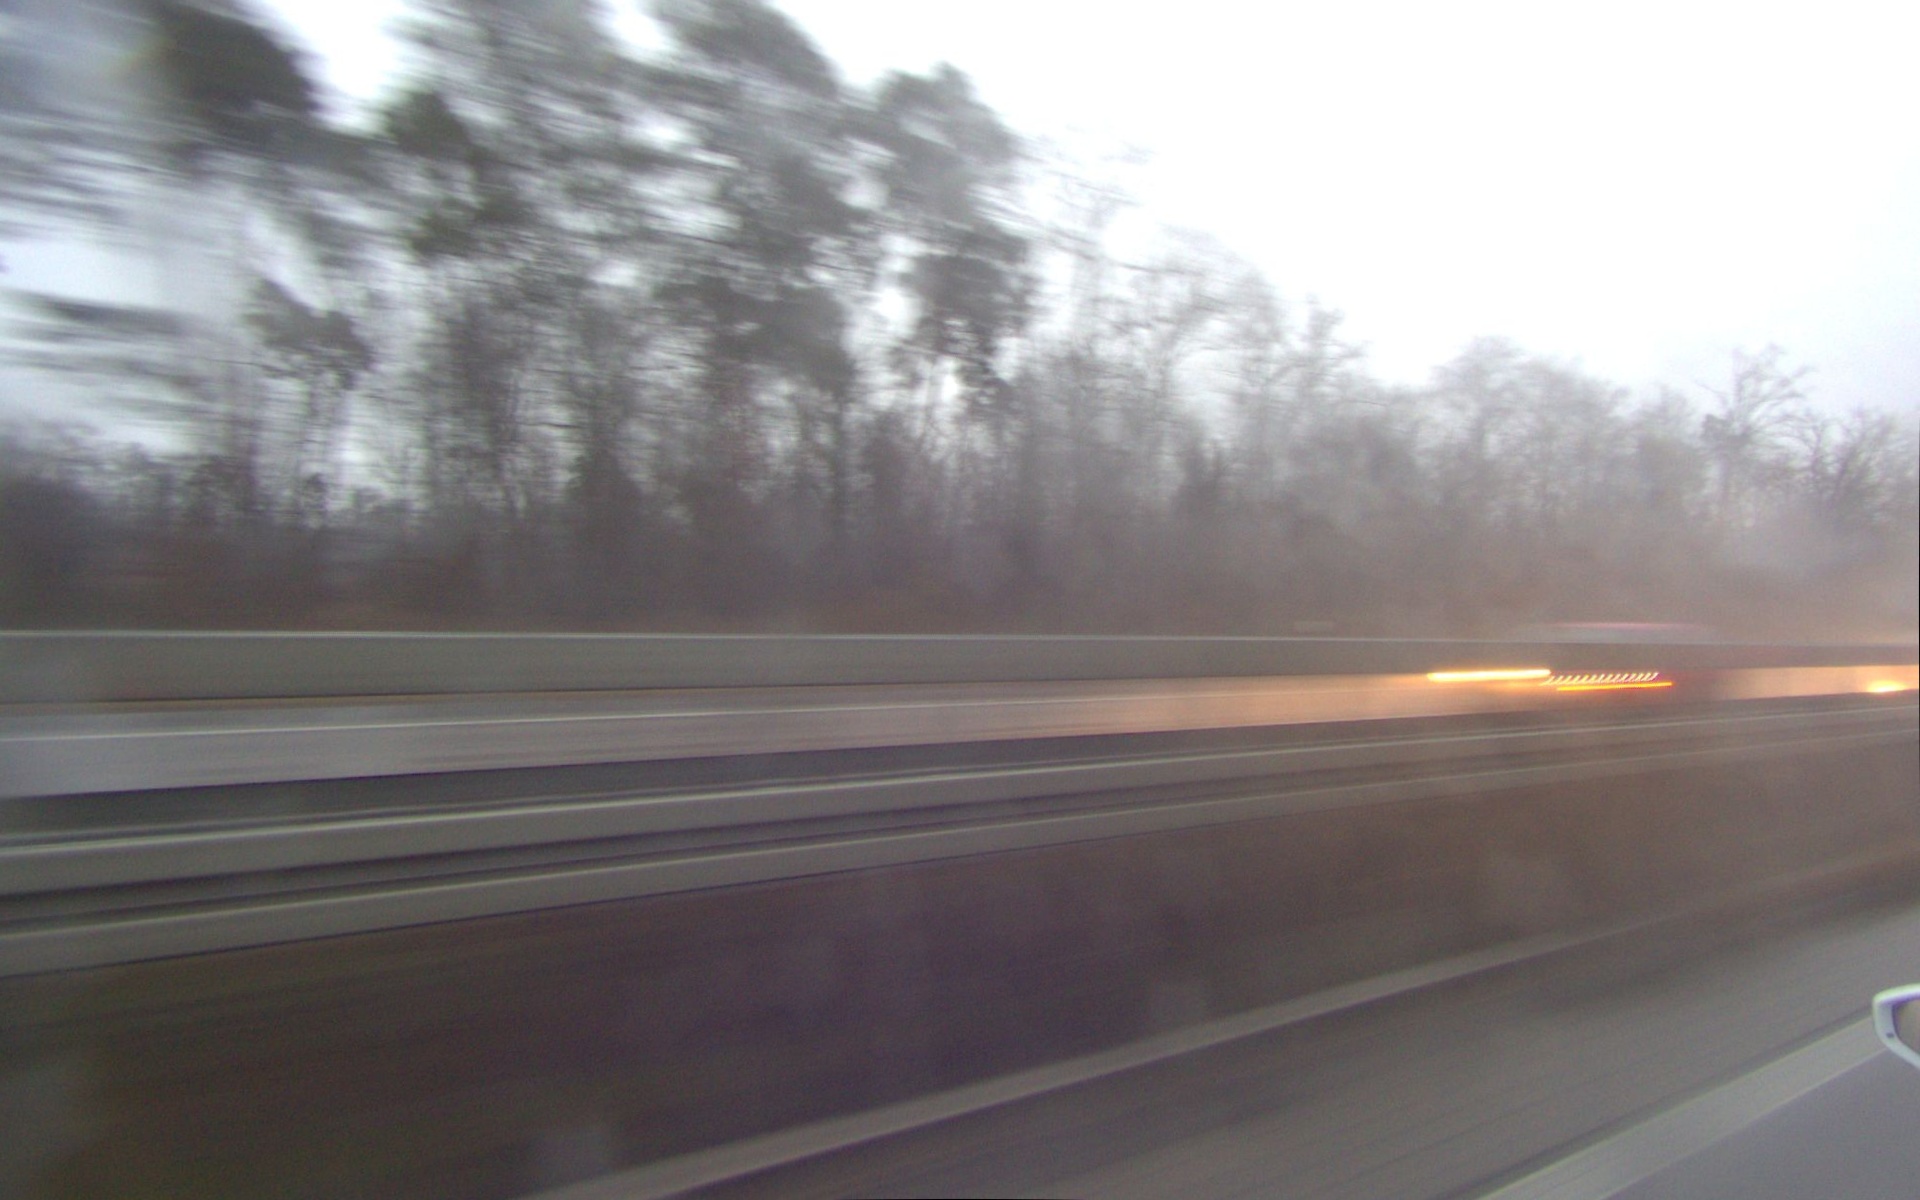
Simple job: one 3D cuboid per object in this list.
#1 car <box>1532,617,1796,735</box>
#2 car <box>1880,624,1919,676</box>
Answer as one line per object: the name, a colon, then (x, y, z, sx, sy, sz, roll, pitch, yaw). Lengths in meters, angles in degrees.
car: (10.551, 1.055, 14.982, 4.209, 1.514, 1.668, 1, 0, -31)
car: (29.740, 1.529, 30.565, 3.607, 1.500, 1.634, 1, 0, -32)
